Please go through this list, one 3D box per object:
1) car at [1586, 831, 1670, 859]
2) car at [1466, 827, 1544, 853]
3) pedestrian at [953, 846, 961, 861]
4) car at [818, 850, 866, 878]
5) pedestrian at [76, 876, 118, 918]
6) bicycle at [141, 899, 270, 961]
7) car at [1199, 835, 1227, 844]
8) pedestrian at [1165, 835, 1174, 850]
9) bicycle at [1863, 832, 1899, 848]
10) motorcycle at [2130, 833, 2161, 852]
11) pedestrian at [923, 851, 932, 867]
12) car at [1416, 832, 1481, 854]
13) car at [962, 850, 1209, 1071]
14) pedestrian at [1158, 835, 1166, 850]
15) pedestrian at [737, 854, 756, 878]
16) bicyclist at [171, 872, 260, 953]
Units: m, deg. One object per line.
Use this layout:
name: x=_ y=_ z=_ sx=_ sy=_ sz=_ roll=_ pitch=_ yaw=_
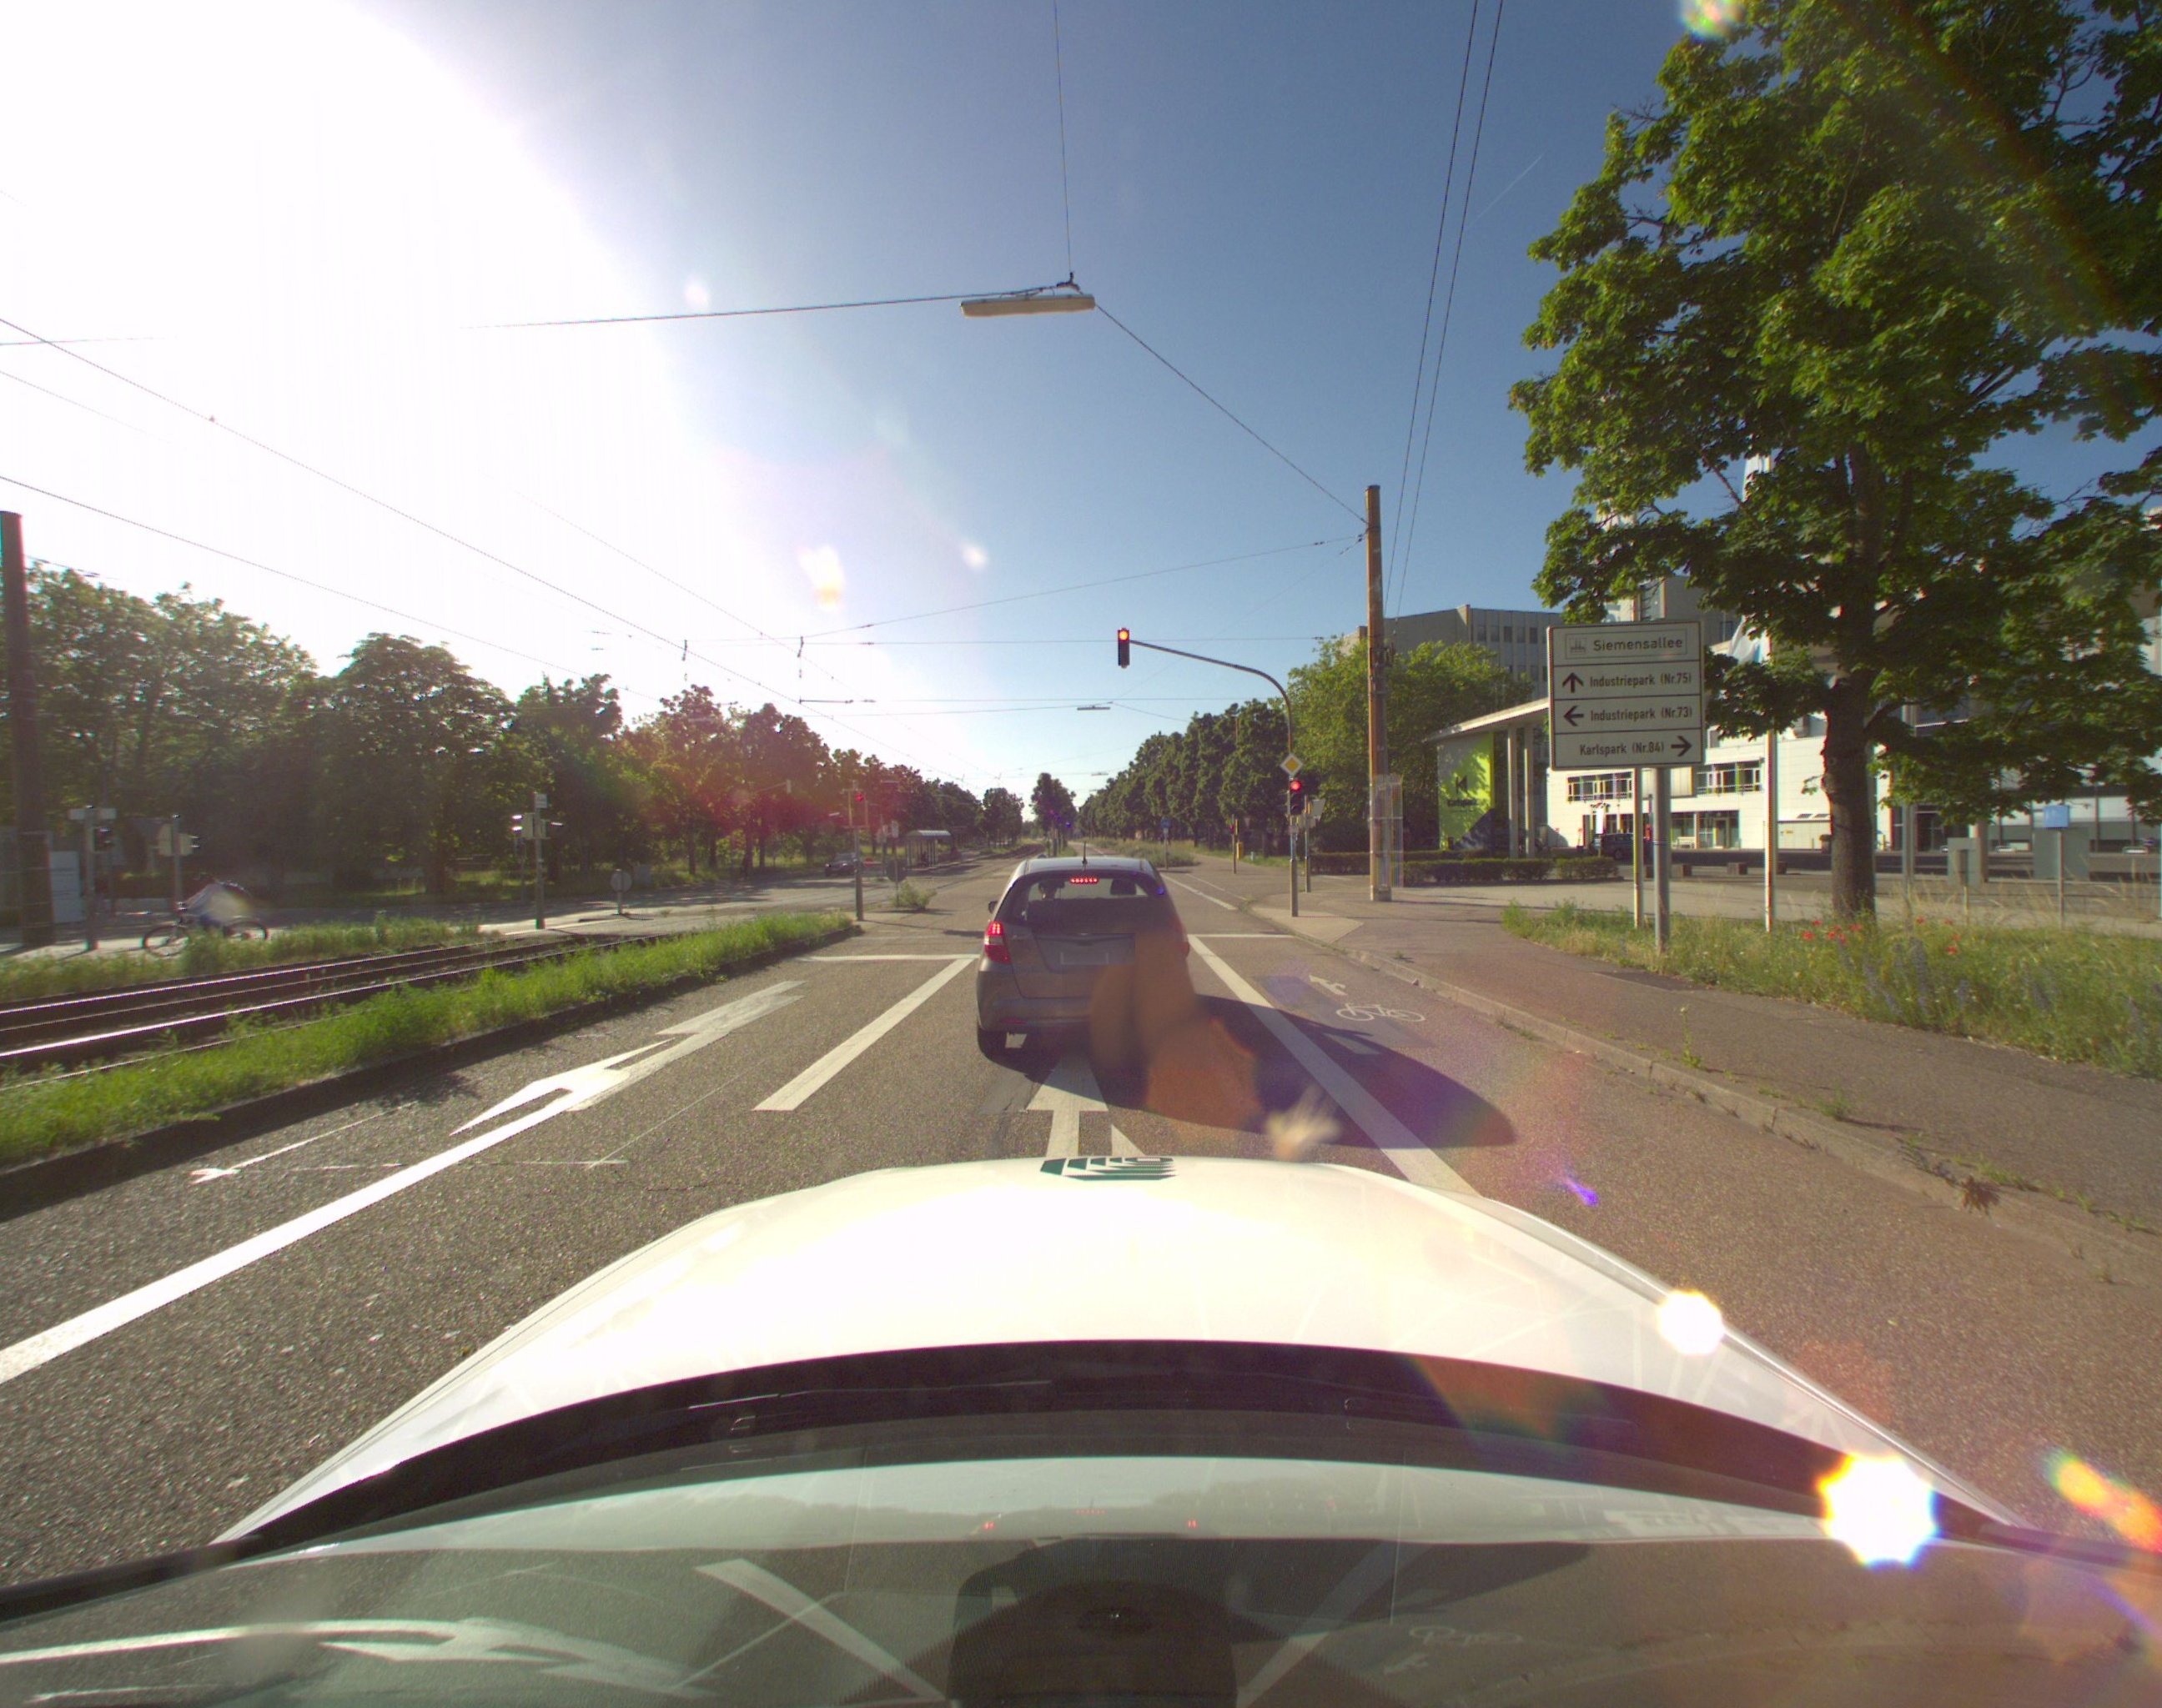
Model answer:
car: x=33.320 y=-0.564 z=49.647 sx=3.984 sy=1.578 sz=1.949 roll=-1 pitch=0 yaw=-8
car: x=31.108 y=-1.045 z=59.777 sx=4.888 sy=1.757 sz=2.082 roll=-2 pitch=1 yaw=-14
pedestrian: x=-12.265 y=-0.044 z=80.584 sx=0.542 sy=1.447 sz=0.559 roll=-2 pitch=0 yaw=1
car: x=-17.861 y=0.718 z=61.088 sx=2.087 sy=1.810 sz=4.792 roll=-3 pitch=1 yaw=0
pedestrian: x=-43.538 y=1.880 z=36.034 sx=0.943 sy=1.787 sz=0.824 roll=-2 pitch=1 yaw=15
bicycle: x=-18.166 y=1.541 z=16.949 sx=0.690 sy=1.102 sz=1.792 roll=-1 pitch=0 yaw=44
car: x=23.395 y=-2.540 z=144.253 sx=4.623 sy=1.555 sz=1.997 roll=-2 pitch=1 yaw=-5
pedestrian: x=10.932 y=-1.427 z=100.789 sx=0.880 sy=1.884 sz=0.875 roll=-2 pitch=1 yaw=-2
bicycle: x=52.270 y=-0.895 z=53.248 sx=0.565 sy=1.004 sz=1.614 roll=-2 pitch=1 yaw=-13
motorcycle: x=54.661 y=-0.584 z=41.261 sx=0.652 sy=0.947 sz=1.727 roll=-2 pitch=1 yaw=-13
pedestrian: x=-12.444 y=0.383 z=66.016 sx=0.562 sy=1.257 sz=0.581 roll=-4 pitch=0 yaw=1
car: x=30.046 y=-0.920 z=66.669 sx=4.448 sy=1.686 sz=1.892 roll=-2 pitch=1 yaw=-4
car: x=0.089 y=0.745 z=7.527 sx=1.694 sy=1.524 sz=3.711 roll=-1 pitch=0 yaw=2
pedestrian: x=9.995 y=-1.420 z=100.794 sx=0.880 sy=1.884 sz=0.875 roll=-2 pitch=1 yaw=-2
pedestrian: x=-24.174 y=0.873 z=58.862 sx=0.751 sy=1.734 sz=0.943 roll=-1 pitch=1 yaw=30
bicyclist: x=-18.073 y=1.186 z=17.039 sx=0.795 sy=1.593 sz=1.244 roll=-1 pitch=0 yaw=44
